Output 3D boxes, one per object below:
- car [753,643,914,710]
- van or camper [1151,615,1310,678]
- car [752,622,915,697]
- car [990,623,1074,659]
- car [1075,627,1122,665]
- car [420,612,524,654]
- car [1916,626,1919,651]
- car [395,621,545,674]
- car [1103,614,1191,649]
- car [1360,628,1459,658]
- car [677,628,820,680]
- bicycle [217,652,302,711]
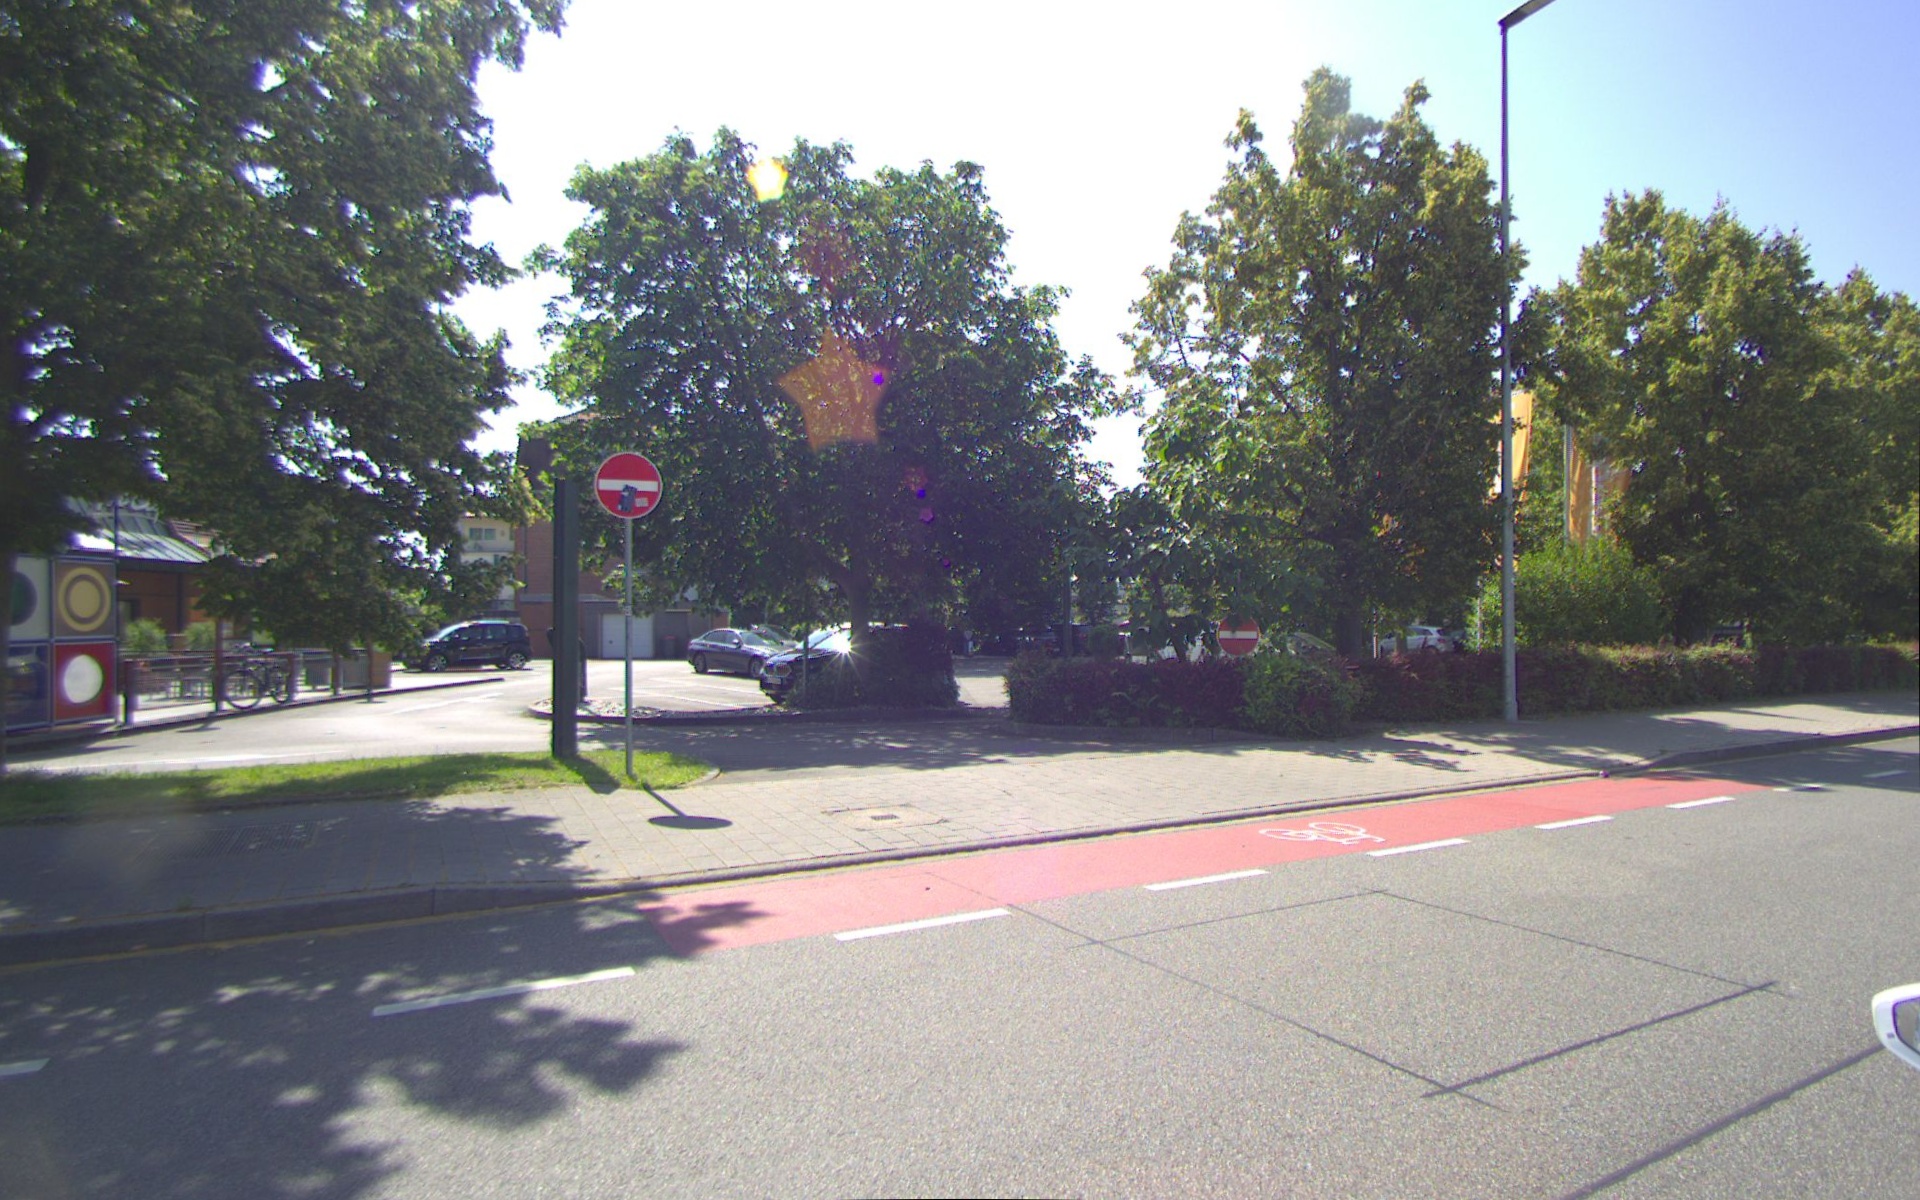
[{"bbox_3d":[-2.727,1.639,22.591,1.579,1.303,3.994,-1,-2,28],"label":"car"},{"bbox_3d":[8.110,1.370,30.321,4.225,1.763,1.988,-2,-2,43],"label":"van or camper"},{"bbox_3d":[-3.179,1.470,25.962,1.691,1.758,4.231,-1,-2,38],"label":"car"},{"bbox_3d":[3.405,1.942,48.191,1.785,1.619,3.952,1,-2,-41],"label":"car"},{"bbox_3d":[5.854,1.916,42.758,1.472,1.546,3.434,0,-2,-1],"label":"car"},{"bbox_3d":[-26.583,1.793,54.870,4.715,2.206,1.998,0,-1,-8],"label":"car"},{"bbox_3d":[73.228,2.867,74.407,1.960,1.929,4.001,0,-1,18],"label":"car"},{"bbox_3d":[-16.736,1.585,34.470,4.321,1.707,1.752,1,-2,-45],"label":"car"},{"bbox_3d":[9.081,1.546,48.996,1.785,1.619,3.952,1,-2,-41],"label":"car"},{"bbox_3d":[22.890,2.159,51.221,4.225,1.457,1.988,-2,-2,43],"label":"car"},{"bbox_3d":[-6.536,1.617,30.908,4.323,1.457,1.992,-2,-2,37],"label":"car"},{"bbox_3d":[-13.063,1.501,18.792,0.302,1.005,1.859,0,-2,-1],"label":"bicycle"}]
